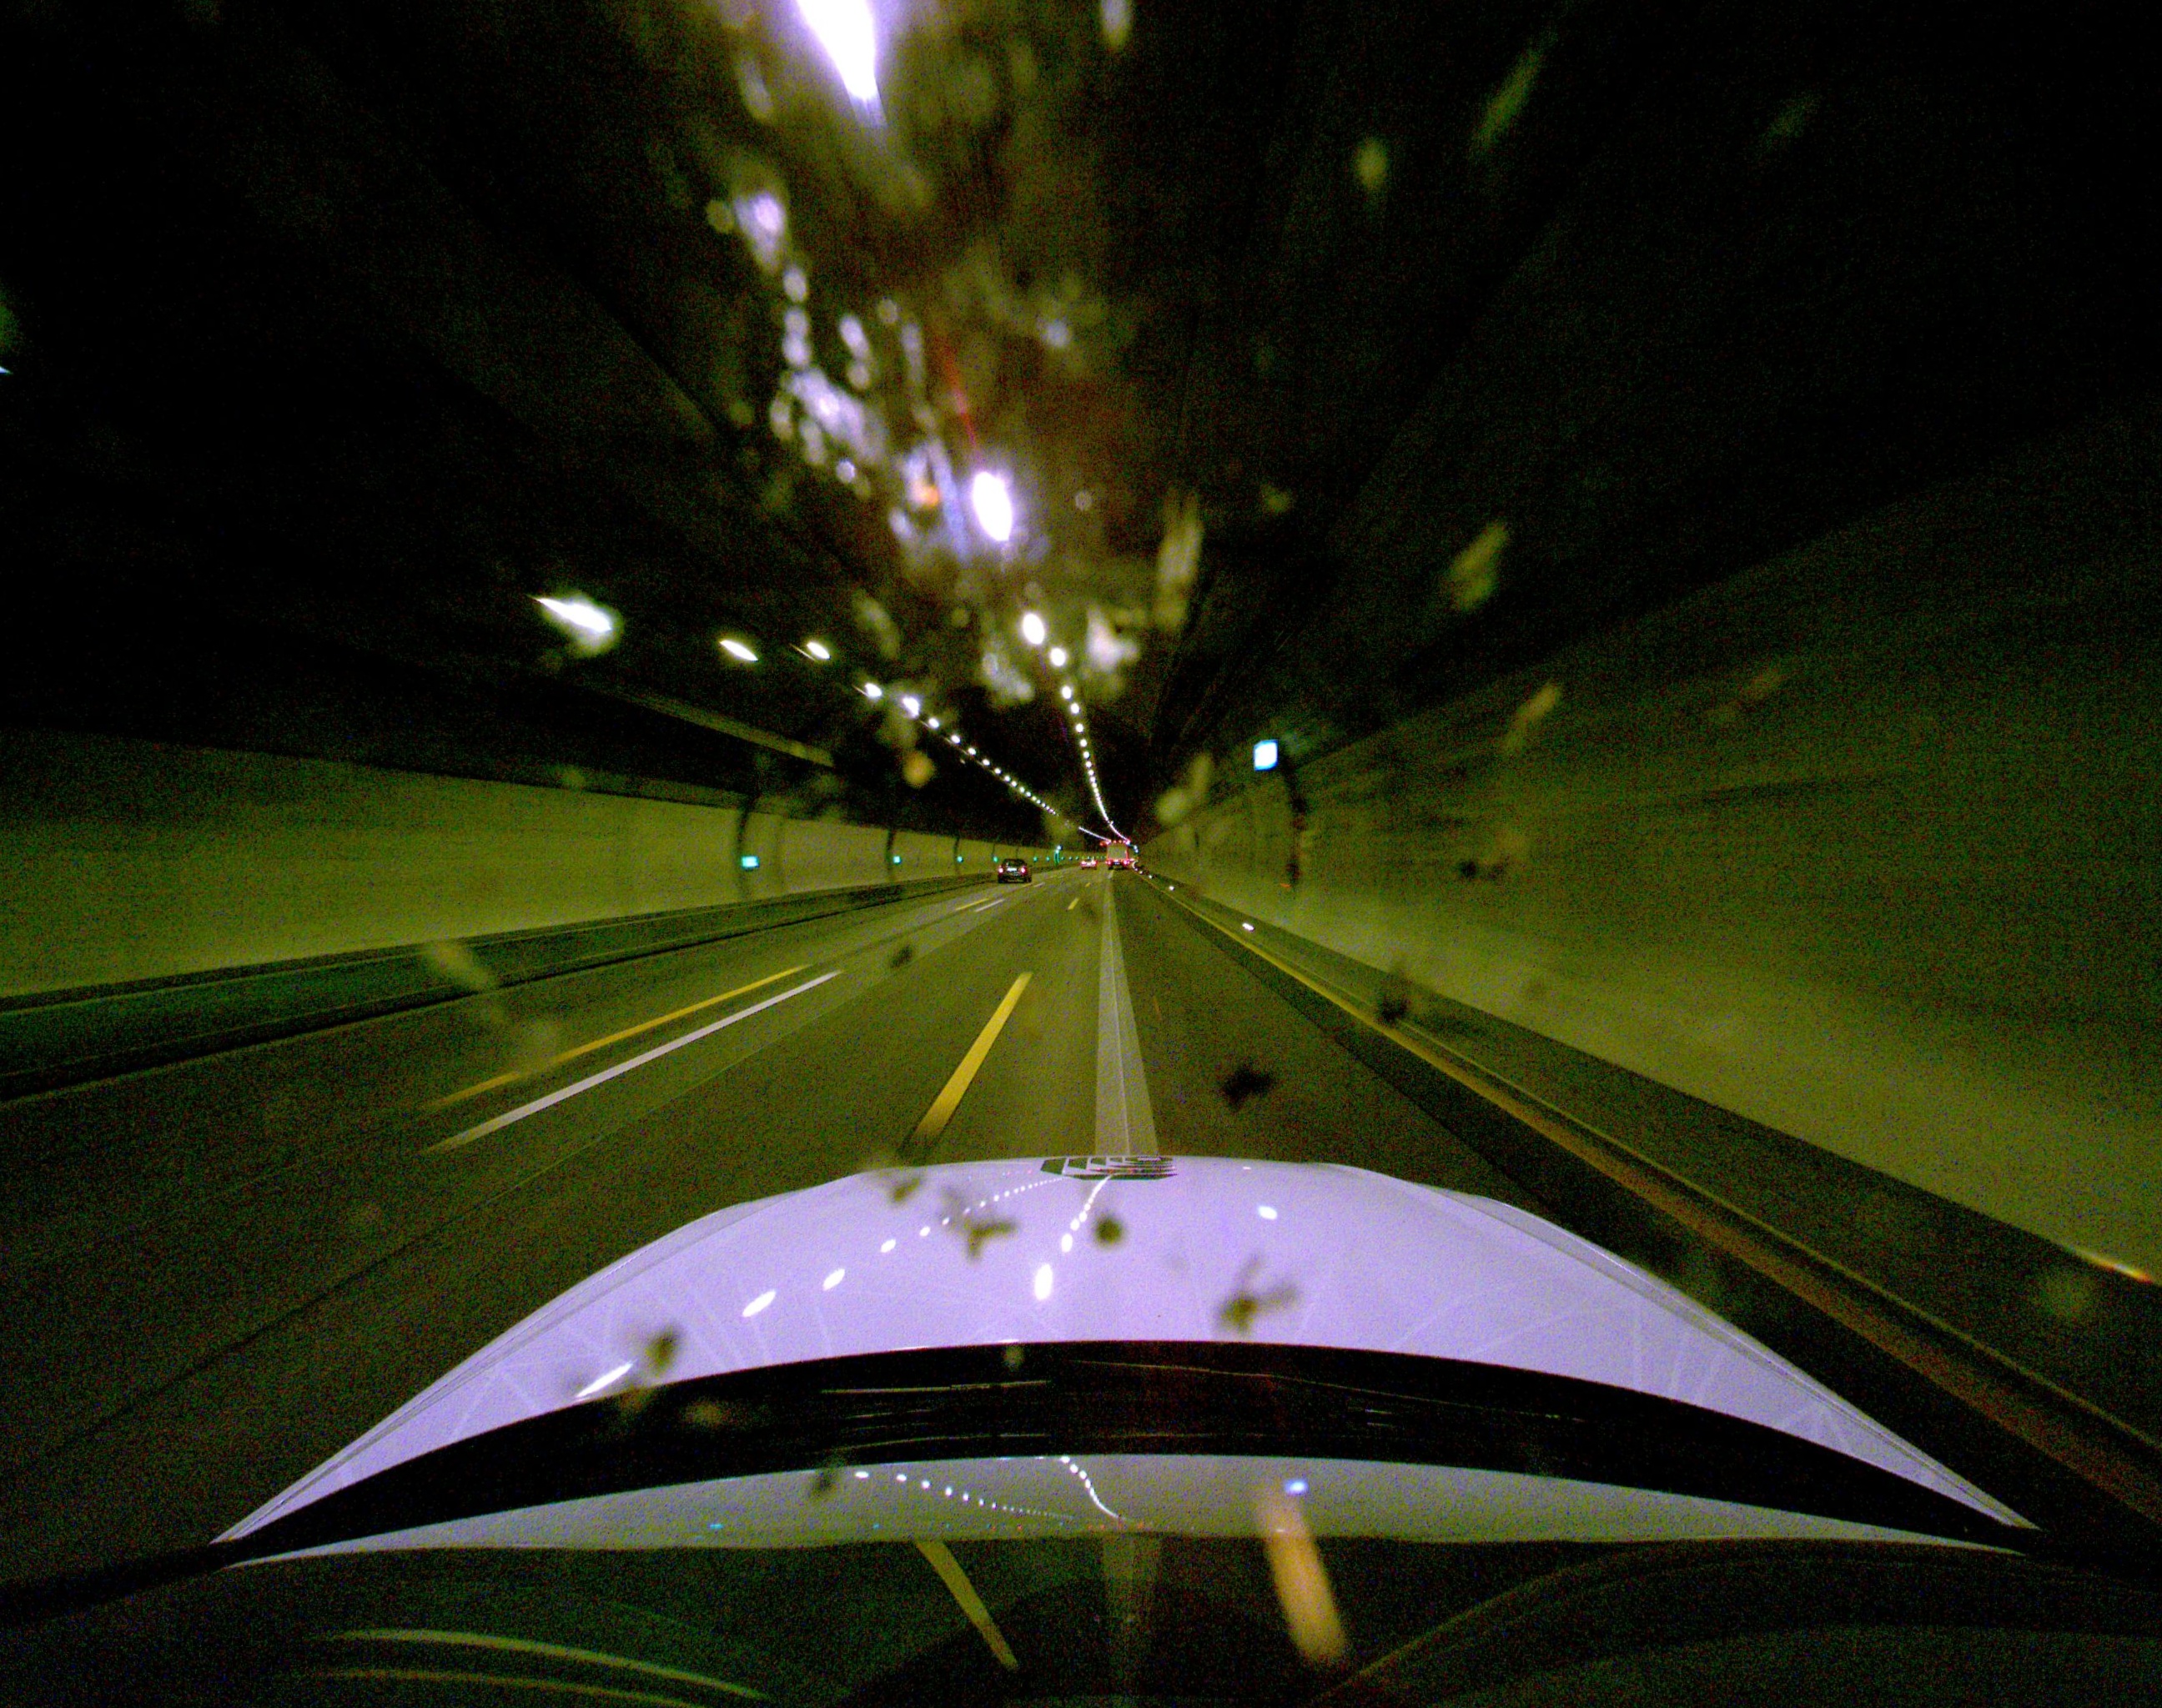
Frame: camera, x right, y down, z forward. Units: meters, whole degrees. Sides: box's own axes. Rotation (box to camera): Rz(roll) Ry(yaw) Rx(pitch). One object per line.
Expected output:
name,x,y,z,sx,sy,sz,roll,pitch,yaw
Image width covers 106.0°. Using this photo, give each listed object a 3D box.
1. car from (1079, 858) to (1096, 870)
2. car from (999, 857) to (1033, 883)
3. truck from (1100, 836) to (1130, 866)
car,0.796,1.197,102.558,1.986,1.413,4.745,-1,0,2
car,-3.779,0.911,47.627,1.684,1.417,3.921,-1,0,-1
truck,4.379,-0.338,105.267,3.578,3.650,10.729,-1,0,3
